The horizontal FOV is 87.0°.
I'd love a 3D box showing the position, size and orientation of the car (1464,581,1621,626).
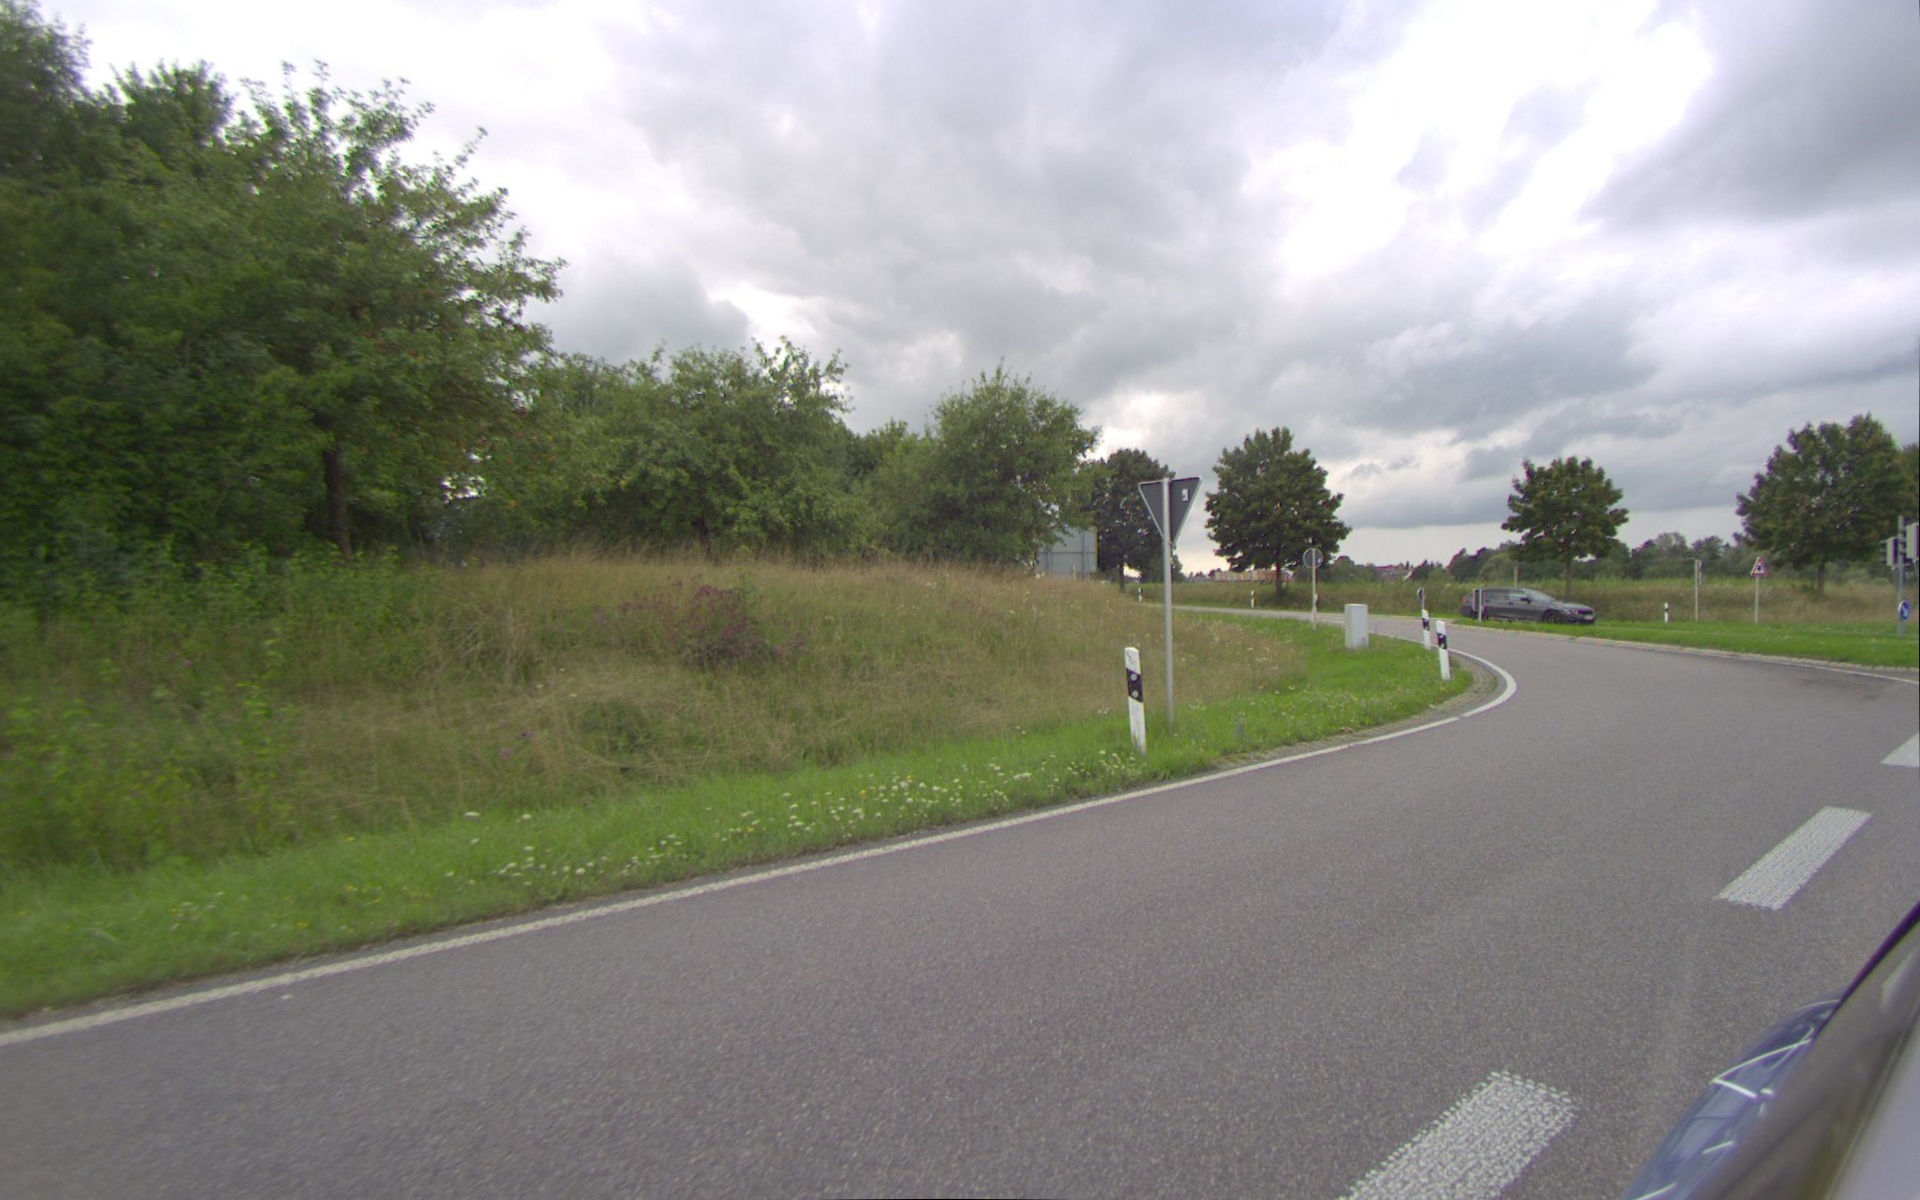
[{"bbox_3d":[21.500,0.086,37.545,1.961,1.522,4.671,0,1,-32],"label":"car"}]
